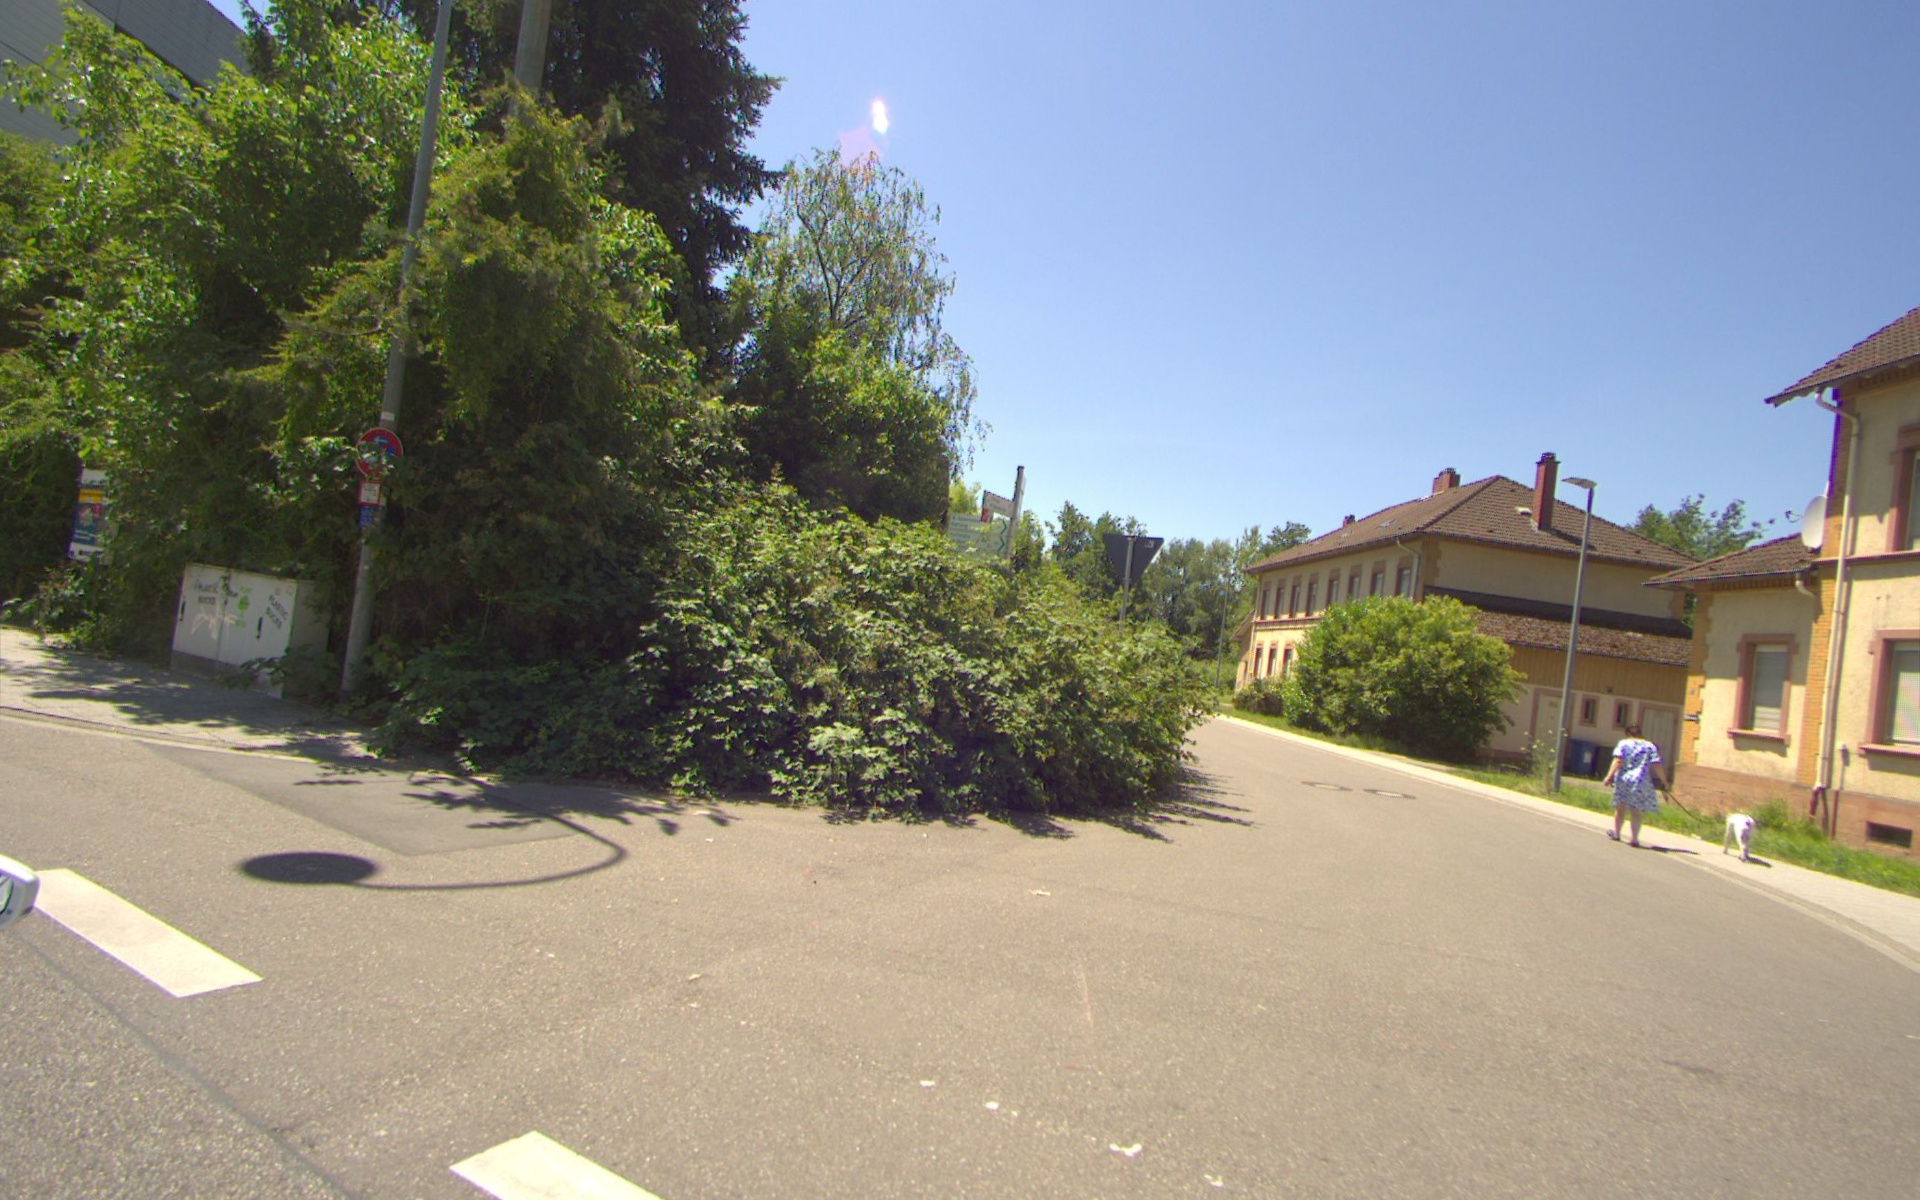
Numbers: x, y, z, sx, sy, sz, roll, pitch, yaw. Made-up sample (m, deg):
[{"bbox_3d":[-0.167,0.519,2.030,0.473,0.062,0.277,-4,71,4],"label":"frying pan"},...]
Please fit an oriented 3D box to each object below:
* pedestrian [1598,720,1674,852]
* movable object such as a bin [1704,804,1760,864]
[{"bbox_3d":[9.268,2.524,13.812,0.689,1.646,0.616,6,-1,33],"label":"pedestrian"},{"bbox_3d":[10.325,3.105,13.446,0.509,0.601,1.239,7,-2,39],"label":"movable object such as a bin"}]
